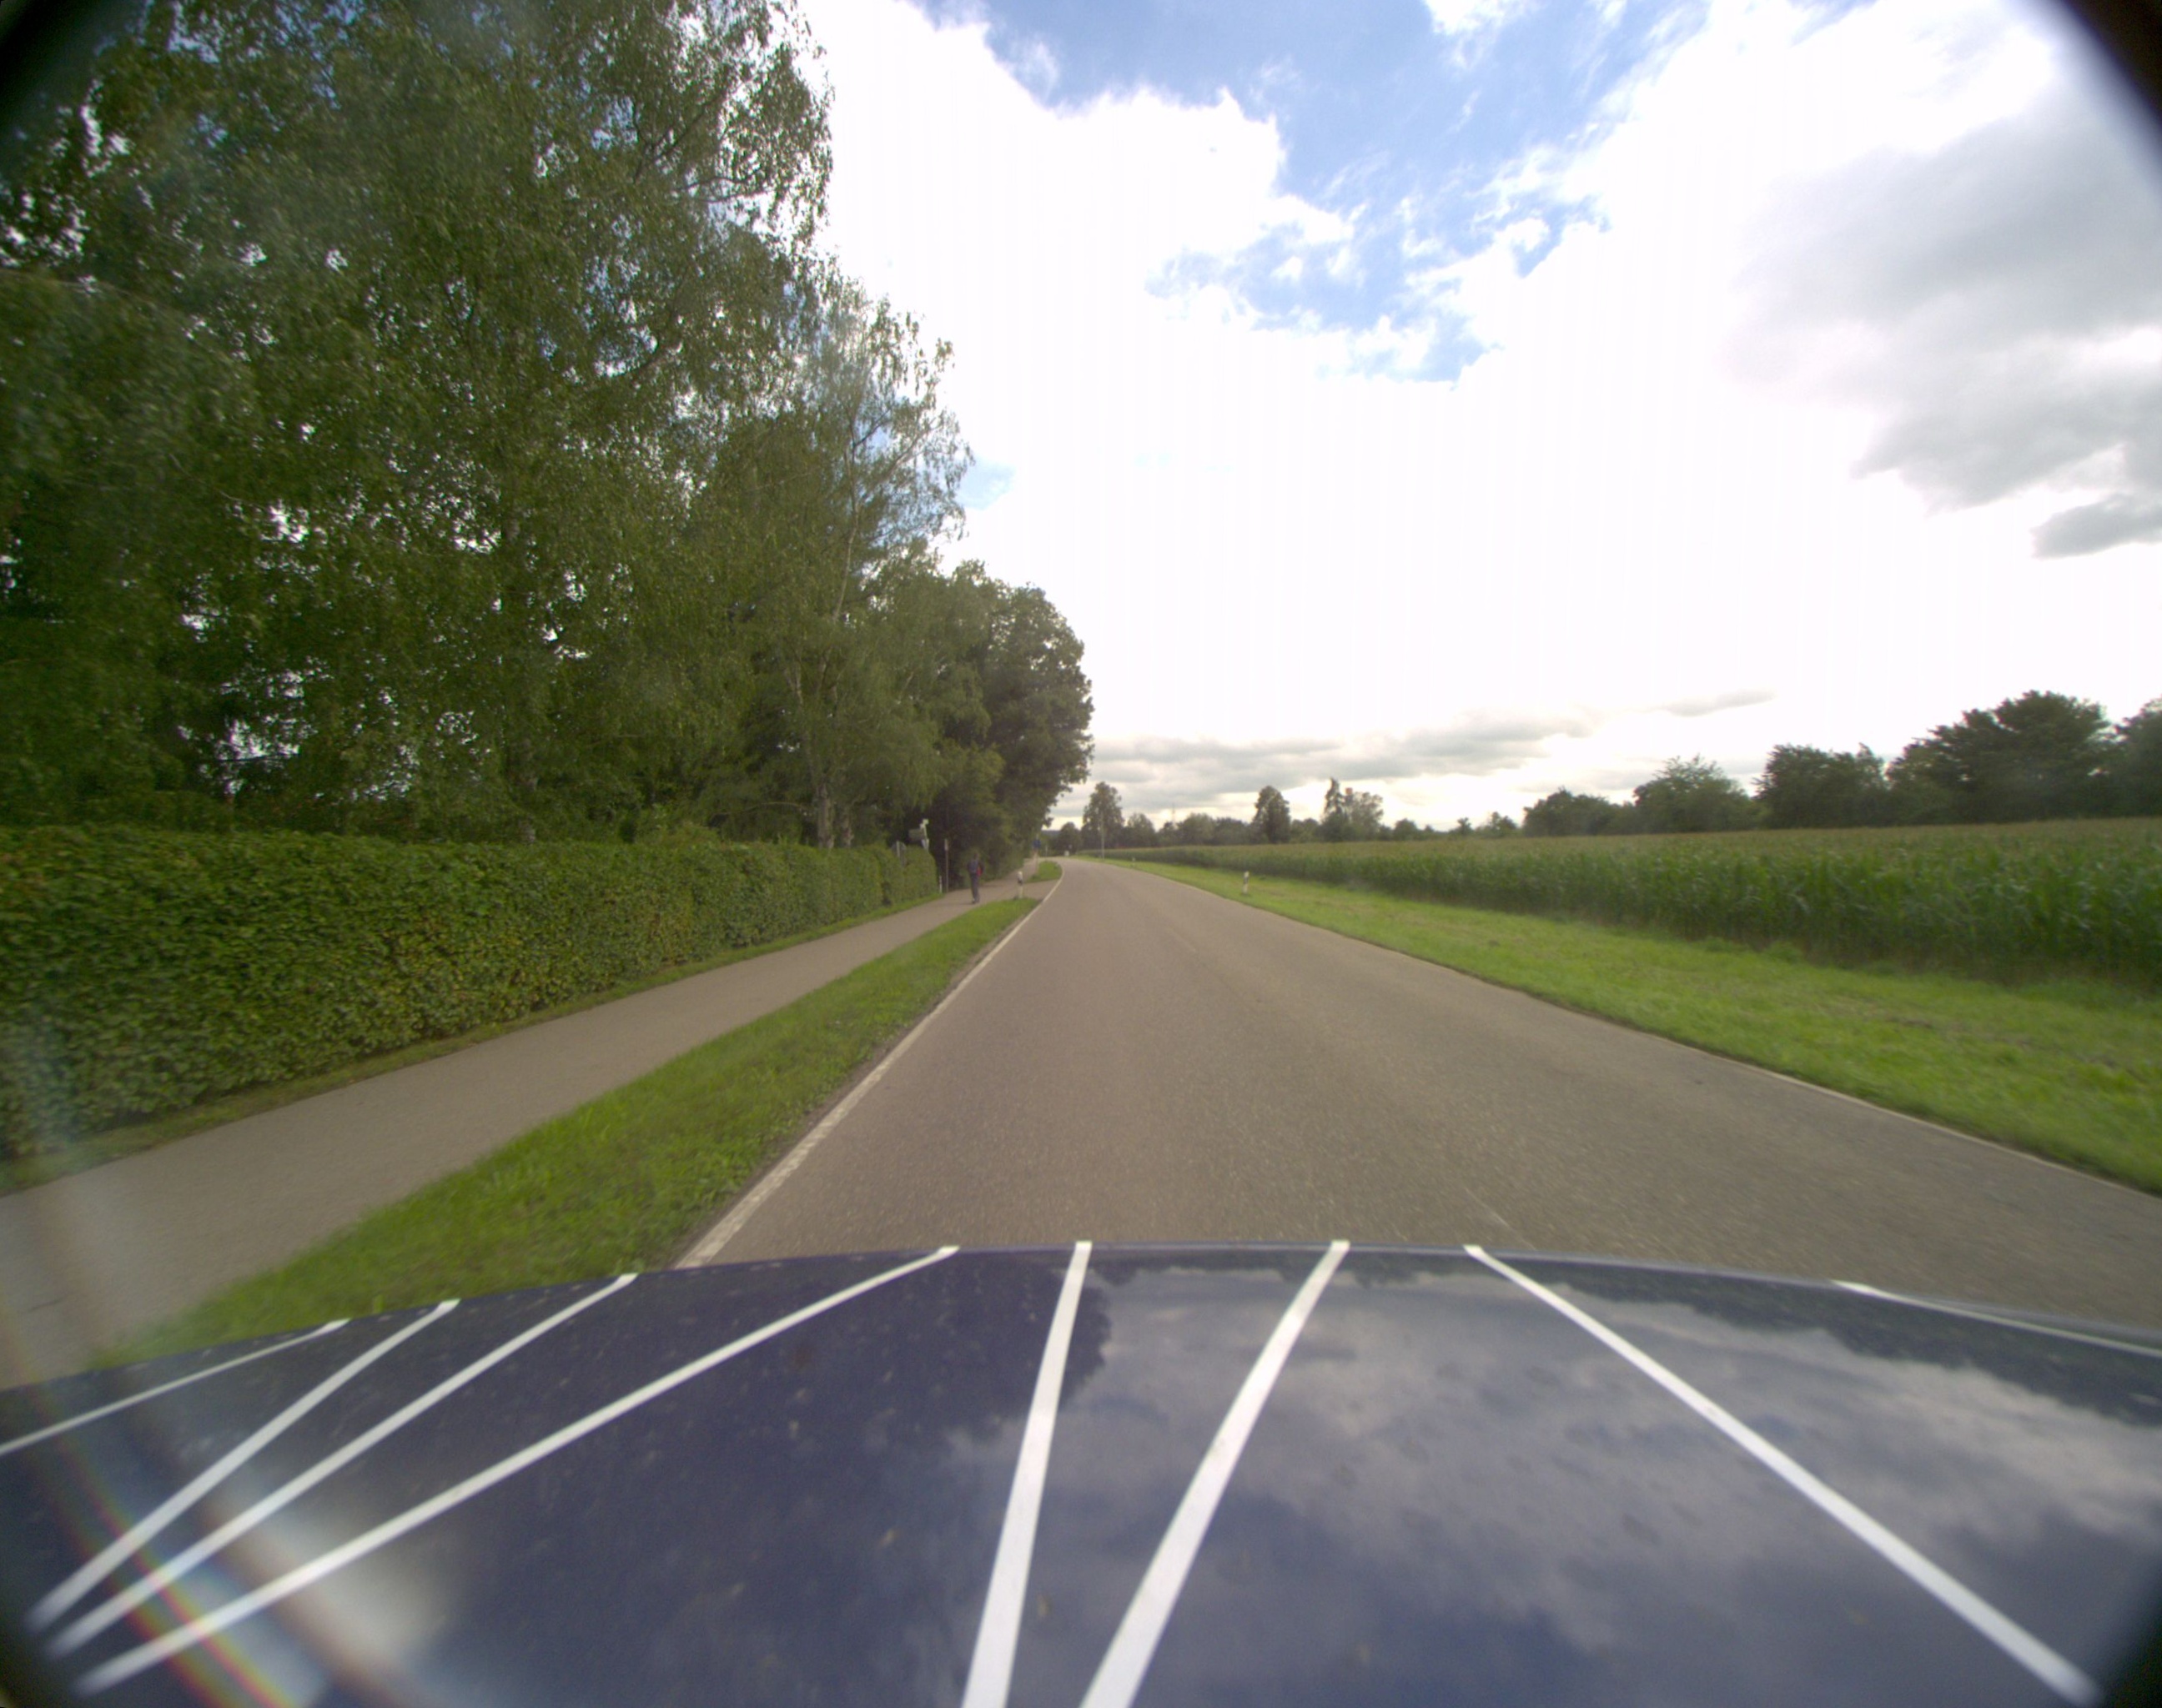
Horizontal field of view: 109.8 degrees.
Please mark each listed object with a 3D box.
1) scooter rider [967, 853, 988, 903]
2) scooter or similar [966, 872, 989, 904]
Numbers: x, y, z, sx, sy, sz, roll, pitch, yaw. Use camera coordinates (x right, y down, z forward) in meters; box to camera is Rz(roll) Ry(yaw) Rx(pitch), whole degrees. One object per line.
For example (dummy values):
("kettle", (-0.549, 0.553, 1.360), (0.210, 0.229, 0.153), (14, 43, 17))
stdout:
("scooter rider", (-4.098, 0.933, 30.117), (0.644, 1.954, 0.786), (-2, 1, 0))
("scooter or similar", (-4.090, 1.341, 30.153), (0.650, 1.157, 1.695), (-2, 1, 0))
